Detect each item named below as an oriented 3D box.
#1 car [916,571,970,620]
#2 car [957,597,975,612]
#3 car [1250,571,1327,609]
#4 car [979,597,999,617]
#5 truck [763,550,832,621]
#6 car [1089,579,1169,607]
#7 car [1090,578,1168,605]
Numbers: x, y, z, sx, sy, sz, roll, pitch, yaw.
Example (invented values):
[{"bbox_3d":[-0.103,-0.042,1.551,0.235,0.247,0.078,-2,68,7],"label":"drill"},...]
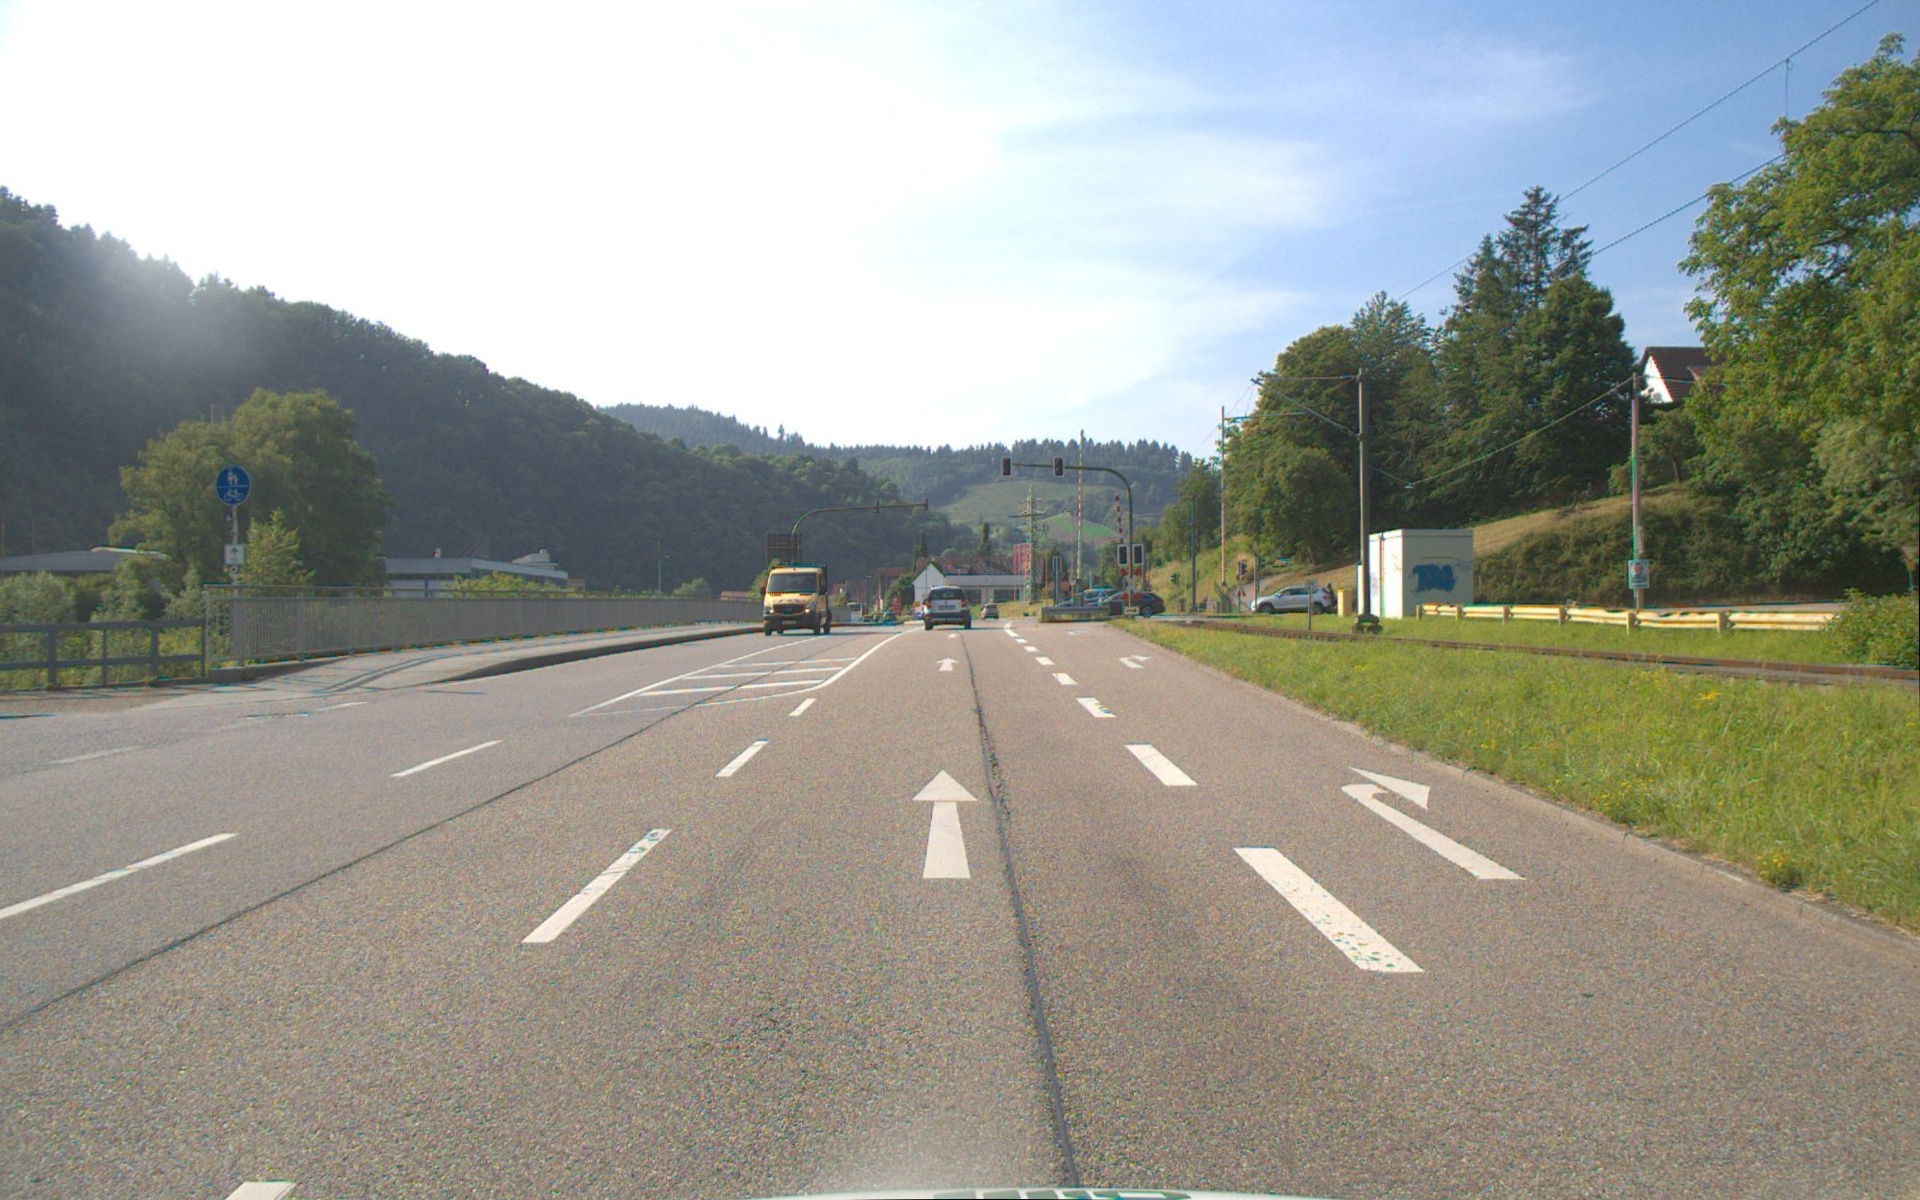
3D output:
[{"bbox_3d":[-0.638,-0.176,64.211,1.953,1.753,3.990,-3,0,0],"label":"car"},{"bbox_3d":[0.634,0.518,189.843,1.953,1.646,3.999,-2,1,-1],"label":"car"},{"bbox_3d":[17.450,-0.534,87.777,3.902,1.914,1.879,-1,1,14],"label":"car"},{"bbox_3d":[3.059,0.709,175.546,1.953,2.049,3.999,-2,1,-1],"label":"car"},{"bbox_3d":[-5.721,-0.532,58.824,1.953,2.384,5.697,-1,1,-1],"label":"truck"},{"bbox_3d":[8.826,-0.353,86.131,3.902,1.378,1.879,-1,1,14],"label":"car"},{"bbox_3d":[9.052,-0.474,88.657,3.902,1.378,1.879,-1,1,14],"label":"car"}]
